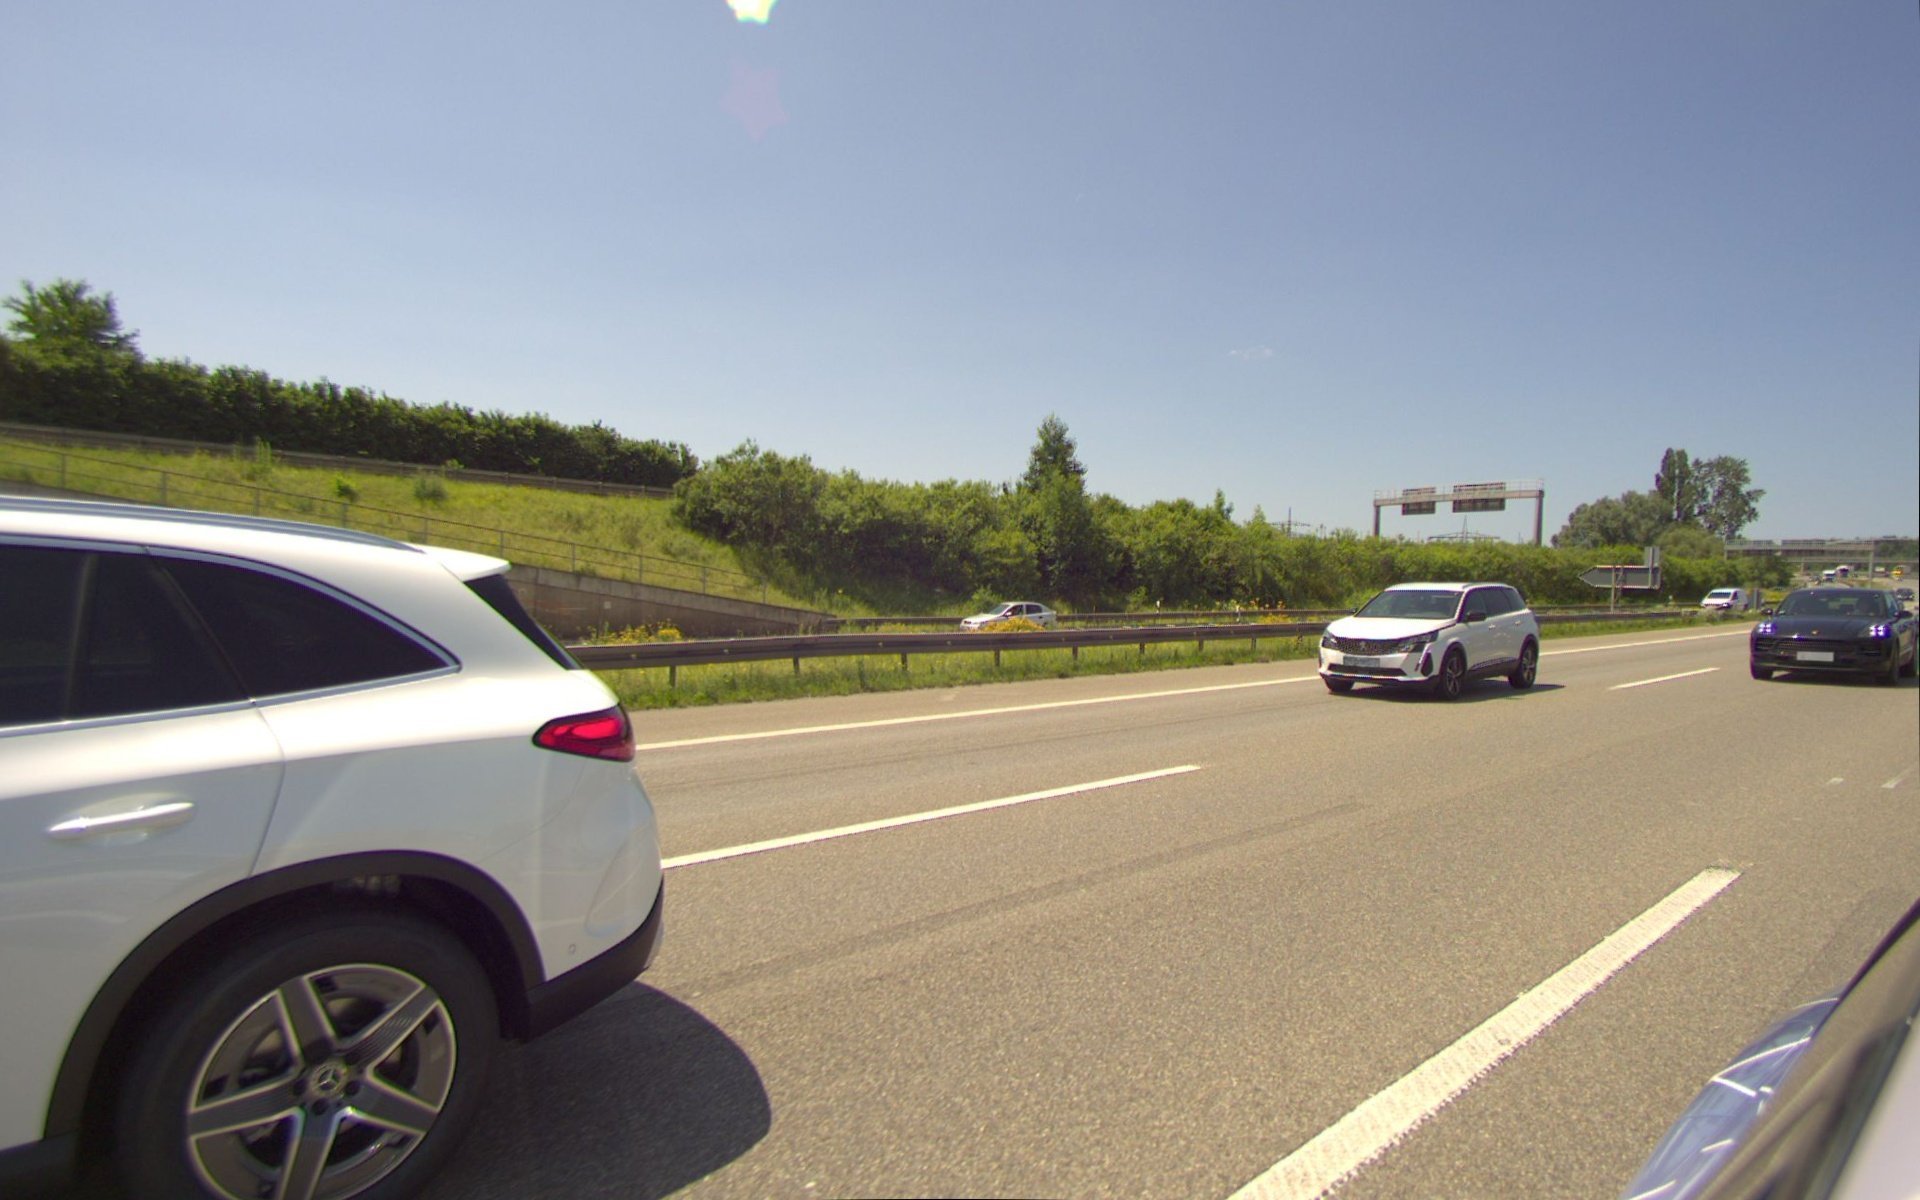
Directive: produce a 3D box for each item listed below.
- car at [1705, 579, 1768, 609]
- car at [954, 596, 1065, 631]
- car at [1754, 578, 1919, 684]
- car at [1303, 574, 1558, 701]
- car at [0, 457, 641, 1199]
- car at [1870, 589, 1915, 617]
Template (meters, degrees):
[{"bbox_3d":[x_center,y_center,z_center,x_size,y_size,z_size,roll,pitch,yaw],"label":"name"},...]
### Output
[{"bbox_3d":[55.977,-0.444,72.943,4.669,2.039,2.002,0,1,-32],"label":"car"},{"bbox_3d":[1.966,0.504,40.254,3.994,1.296,1.902,0,1,-28],"label":"car"},{"bbox_3d":[15.831,0.446,18.003,4.538,1.650,1.980,-1,1,-42],"label":"car"},{"bbox_3d":[7.260,0.451,15.395,4.537,1.650,1.896,-1,1,-42],"label":"car"},{"bbox_3d":[-3.156,0.586,1.836,4.555,1.676,1.908,-1,1,-40],"label":"car"},{"bbox_3d":[52.341,0.127,56.786,1.748,1.489,3.936,1,1,44],"label":"car"}]
